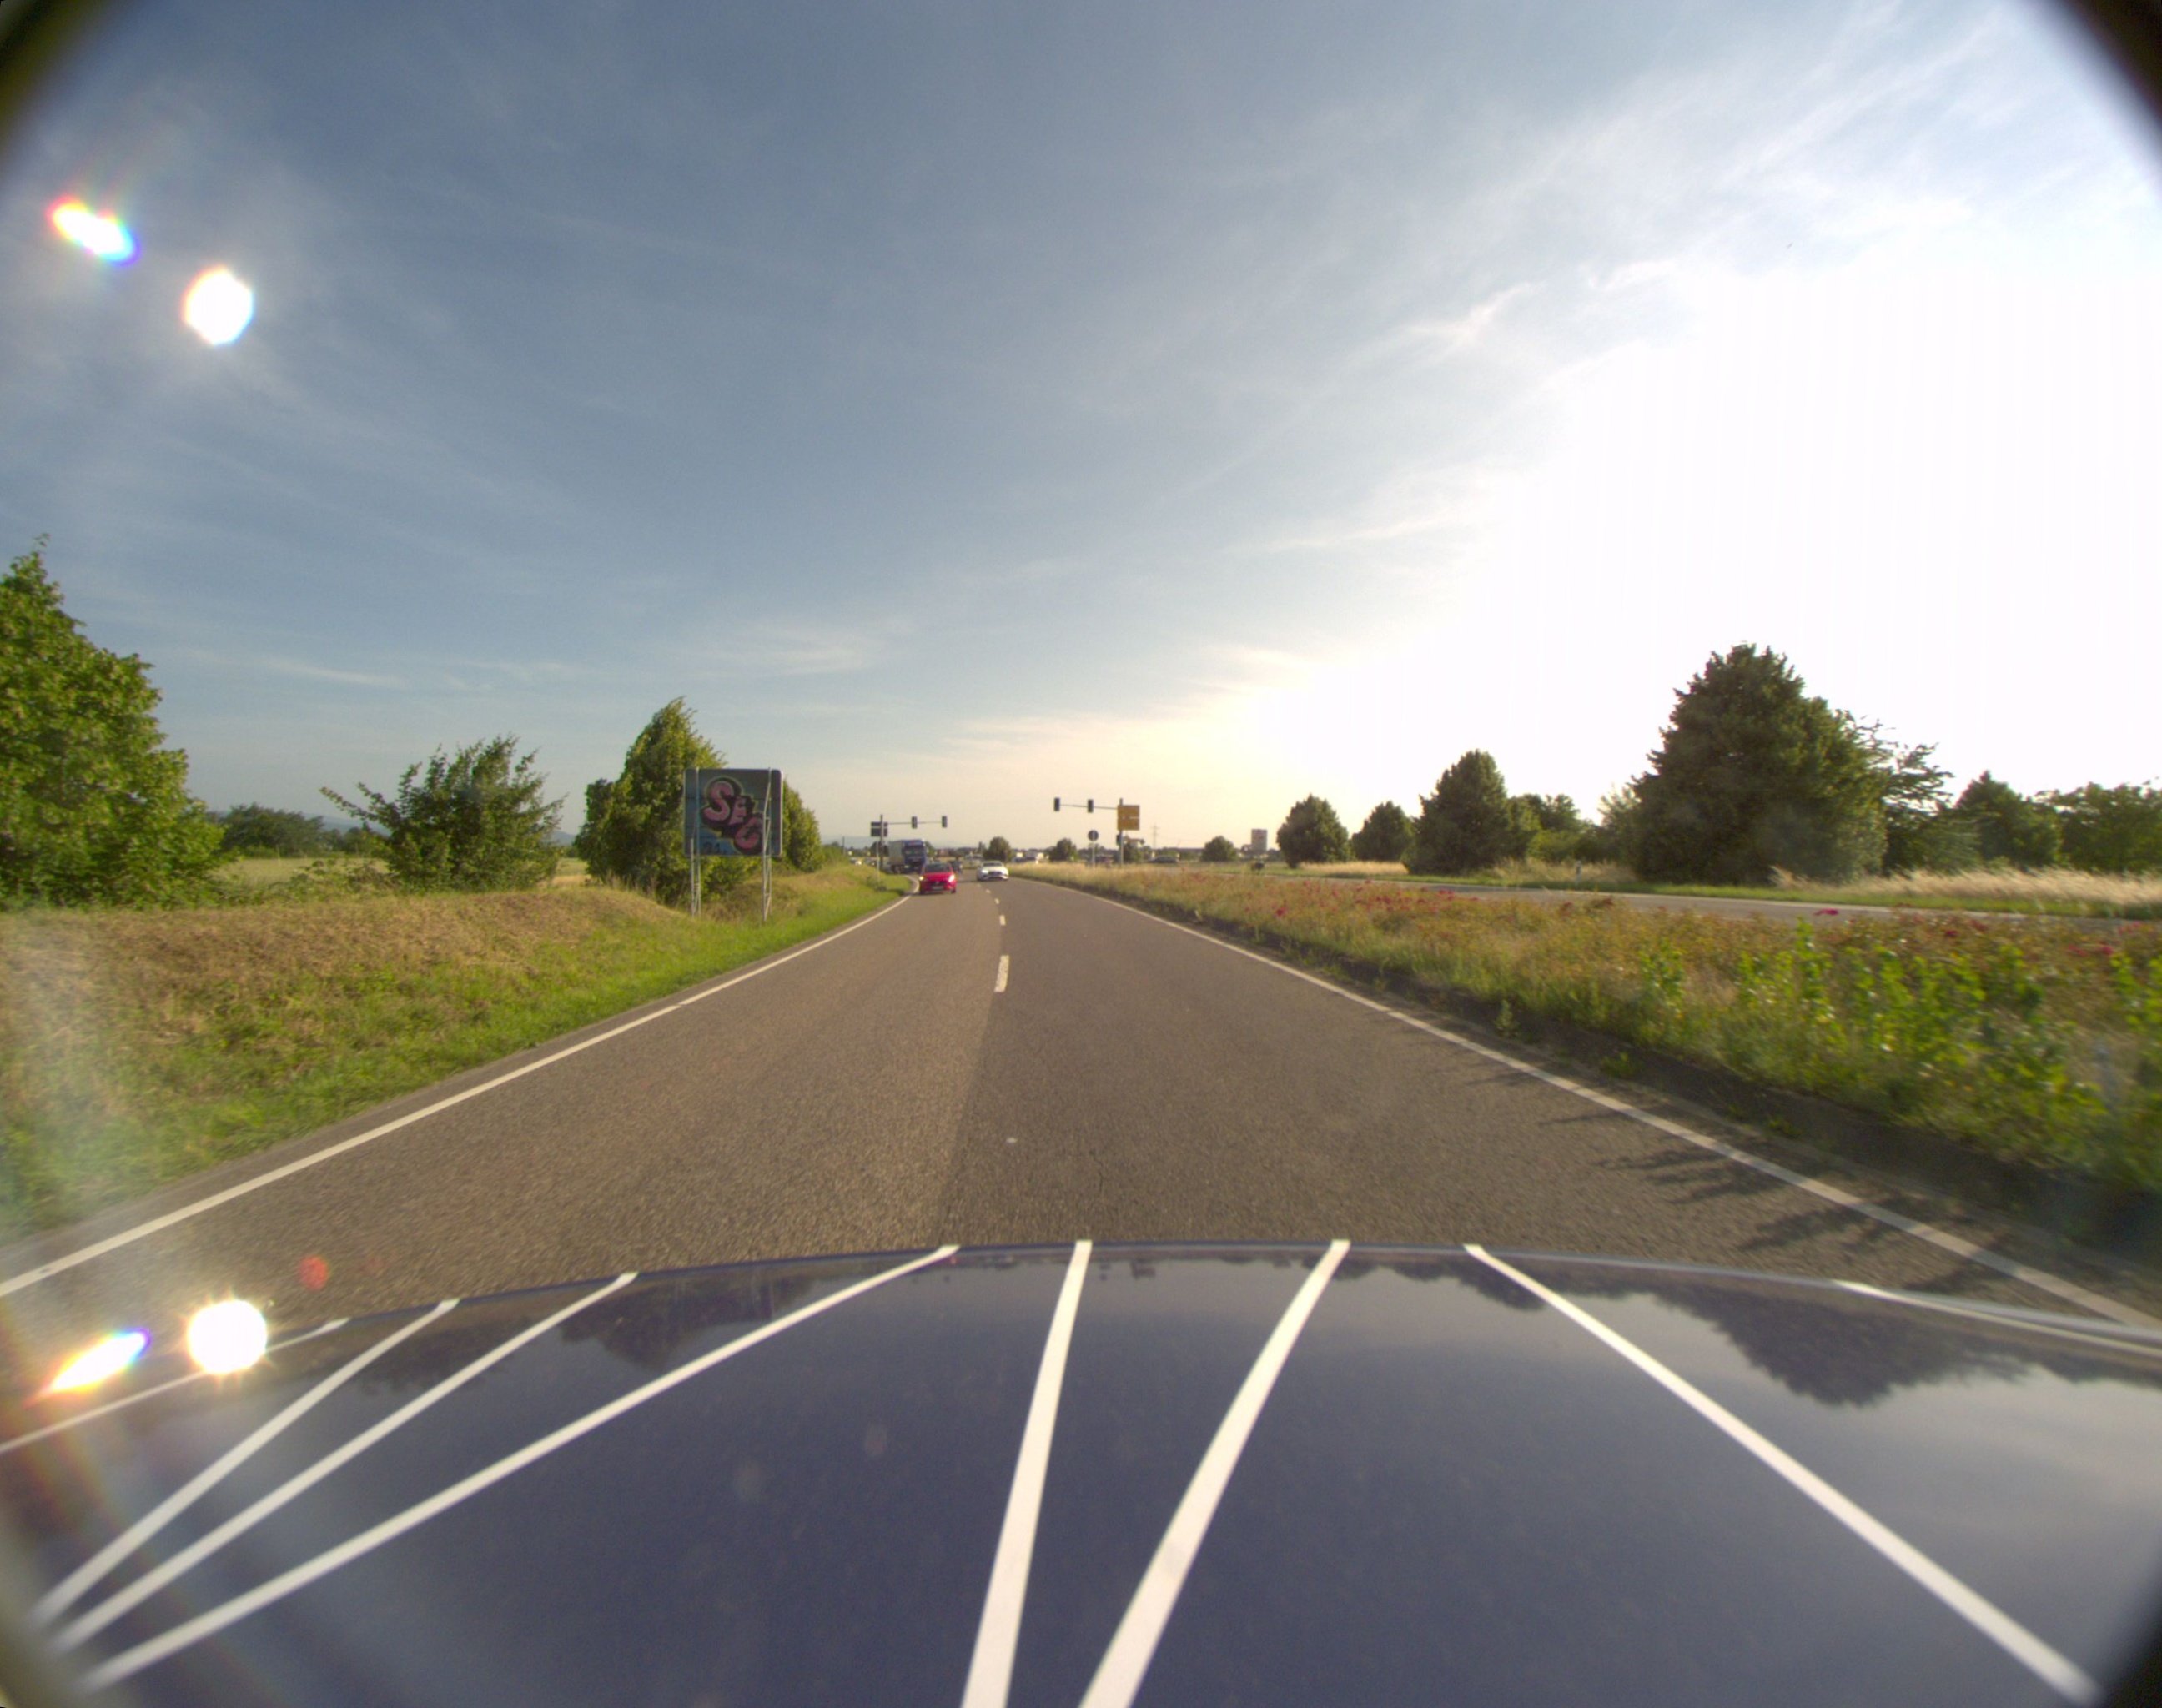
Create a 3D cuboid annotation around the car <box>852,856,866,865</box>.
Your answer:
[{"bbox_3d":[-45.292,1.300,155.205,2.003,1.871,3.991,-1,0,-27],"label":"car"}]

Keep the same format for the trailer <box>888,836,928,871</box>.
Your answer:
[{"bbox_3d":[-21.590,-0.028,94.041,2.656,3.956,13.904,-3,1,-21],"label":"trailer"}]

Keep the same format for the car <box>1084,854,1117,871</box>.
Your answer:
[{"bbox_3d":[1.910,0.832,76.064,1.920,1.556,4.604,-2,0,-16],"label":"car"}]

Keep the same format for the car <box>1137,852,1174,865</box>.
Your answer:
[{"bbox_3d":[9.183,0.546,93.823,4.004,1.390,1.956,-2,0,-21],"label":"car"}]

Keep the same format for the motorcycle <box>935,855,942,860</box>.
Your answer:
[{"bbox_3d":[-28.607,0.709,152.657,0.704,1.131,2.273,-2,0,-25],"label":"motorcycle"}]

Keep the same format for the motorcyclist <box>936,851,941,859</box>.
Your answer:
[{"bbox_3d":[-28.627,0.232,152.653,0.701,1.494,0.894,-1,0,-25],"label":"motorcyclist"}]

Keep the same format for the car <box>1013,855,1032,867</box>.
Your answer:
[{"bbox_3d":[-7.304,0.887,94.817,1.685,1.435,3.747,-2,0,-14],"label":"car"}]

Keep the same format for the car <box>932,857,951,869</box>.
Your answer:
[{"bbox_3d":[-17.630,1.132,95.824,1.834,1.521,3.993,-1,0,-19],"label":"car"}]

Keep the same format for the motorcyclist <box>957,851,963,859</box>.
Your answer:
[{"bbox_3d":[-22.192,0.122,139.691,0.708,1.456,1.018,-2,1,-28],"label":"motorcyclist"}]

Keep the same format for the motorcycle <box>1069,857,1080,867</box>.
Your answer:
[{"bbox_3d":[-0.752,0.894,87.227,0.755,1.087,2.305,-2,1,-14],"label":"motorcycle"}]

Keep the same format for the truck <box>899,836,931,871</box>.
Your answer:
[{"bbox_3d":[-19.183,-0.061,87.730,2.655,3.897,5.940,-3,1,-20],"label":"truck"}]

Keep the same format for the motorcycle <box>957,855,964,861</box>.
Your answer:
[{"bbox_3d":[-22.116,0.708,139.610,0.711,1.152,2.018,-2,1,-27],"label":"motorcycle"}]

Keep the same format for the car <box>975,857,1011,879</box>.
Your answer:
[{"bbox_3d":[-6.302,0.976,54.209,1.878,1.390,4.198,-1,1,-16],"label":"car"}]

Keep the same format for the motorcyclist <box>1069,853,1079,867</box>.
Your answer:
[{"bbox_3d":[-0.816,0.648,87.445,0.755,1.595,1.248,-2,1,-14],"label":"motorcyclist"}]

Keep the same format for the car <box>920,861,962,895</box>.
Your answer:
[{"bbox_3d":[-6.687,1.110,36.642,1.666,1.455,3.952,-2,1,-7],"label":"car"}]

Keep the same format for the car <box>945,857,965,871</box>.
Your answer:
[{"bbox_3d":[-13.915,1.065,83.900,1.753,1.521,3.994,-1,0,-15],"label":"car"}]

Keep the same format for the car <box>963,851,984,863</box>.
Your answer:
[{"bbox_3d":[-16.786,0.449,118.701,2.002,1.892,5.778,-2,1,-21],"label":"car"}]

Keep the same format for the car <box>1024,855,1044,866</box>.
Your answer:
[{"bbox_3d":[-6.466,0.855,103.166,1.712,1.516,4.128,-2,1,-18],"label":"car"}]
